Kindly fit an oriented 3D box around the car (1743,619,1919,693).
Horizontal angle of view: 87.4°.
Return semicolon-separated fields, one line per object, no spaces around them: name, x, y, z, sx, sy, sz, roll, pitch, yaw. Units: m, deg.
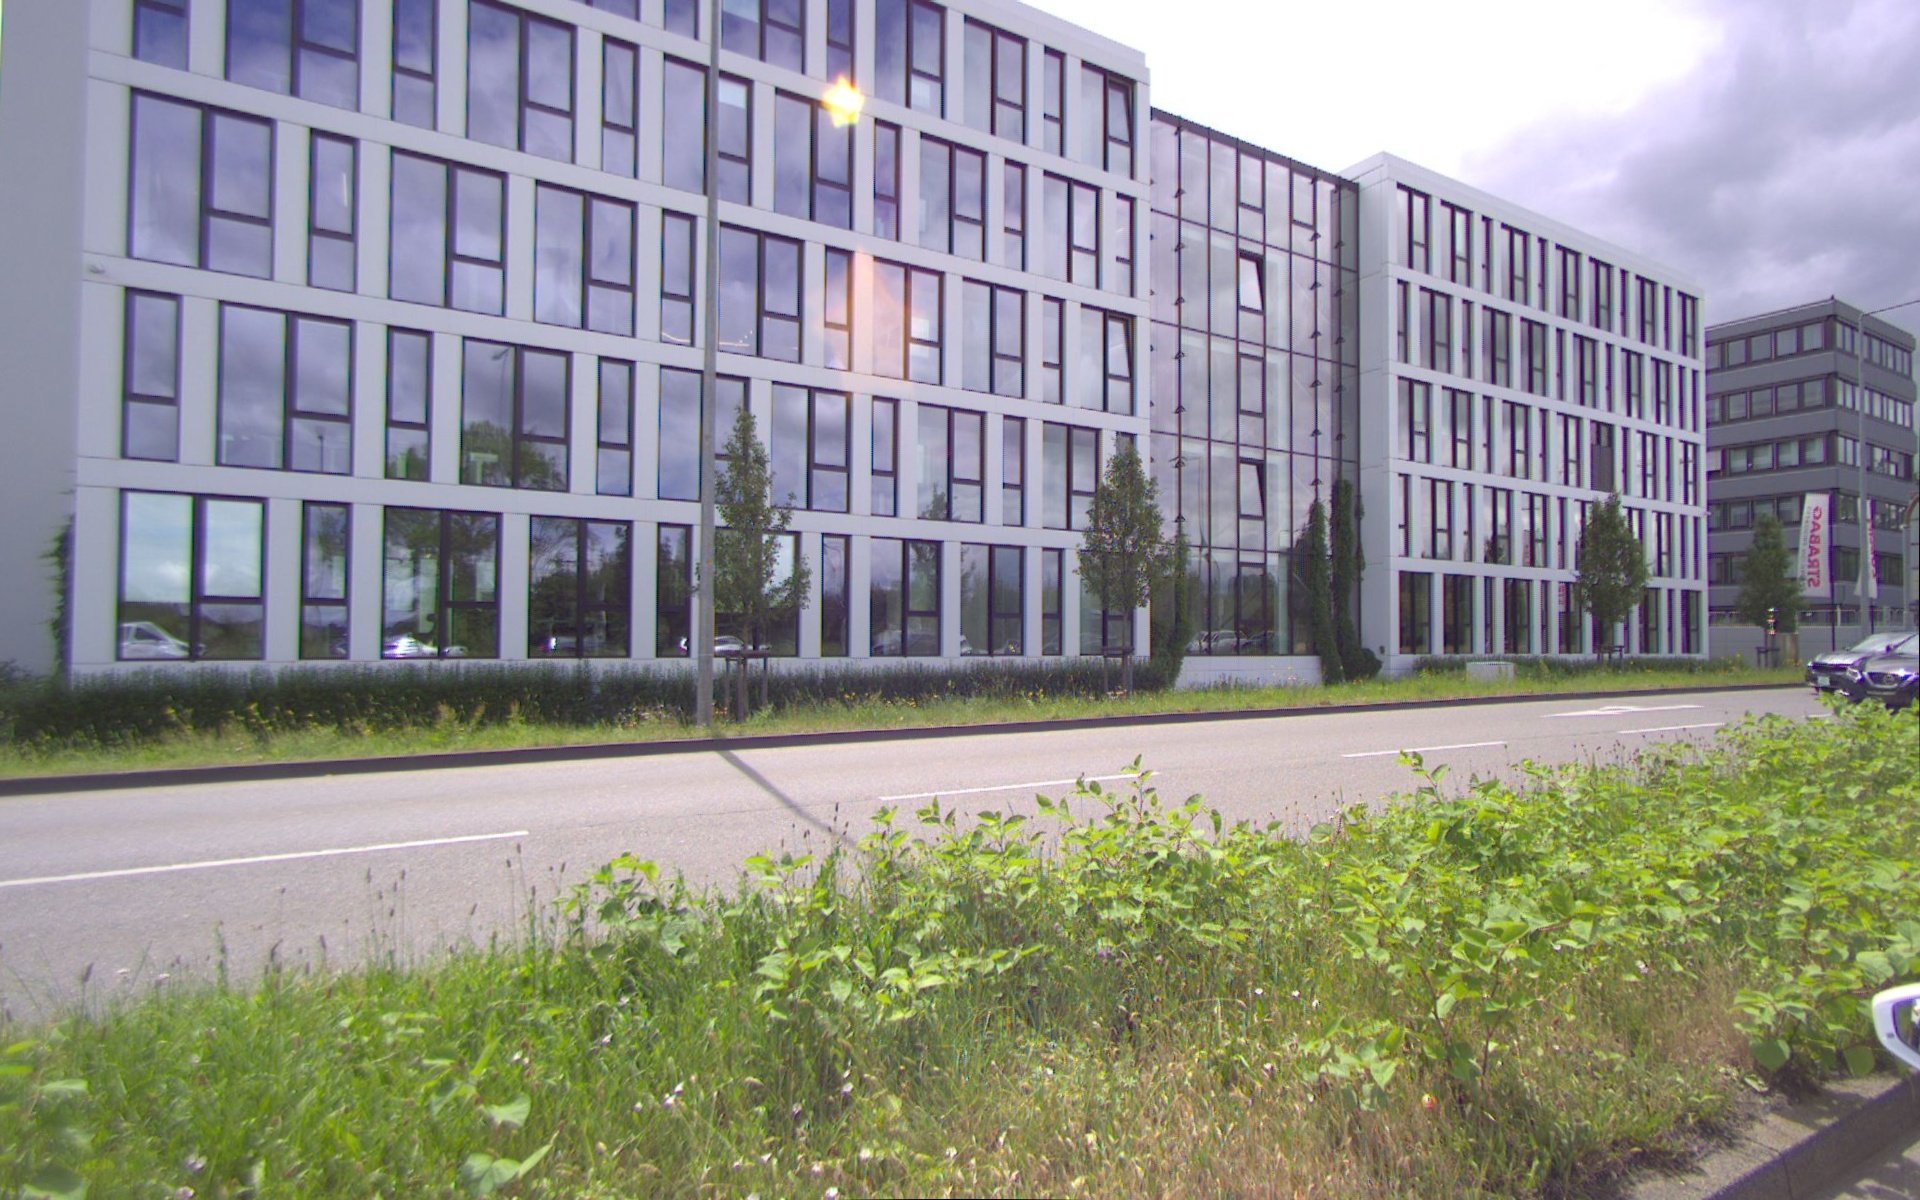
car;20.236;1.223;22.224;4.232;1.545;2.001;0;-2;2

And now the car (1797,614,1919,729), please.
car;15.612;1.074;15.477;4.242;1.637;1.996;1;-2;-12
